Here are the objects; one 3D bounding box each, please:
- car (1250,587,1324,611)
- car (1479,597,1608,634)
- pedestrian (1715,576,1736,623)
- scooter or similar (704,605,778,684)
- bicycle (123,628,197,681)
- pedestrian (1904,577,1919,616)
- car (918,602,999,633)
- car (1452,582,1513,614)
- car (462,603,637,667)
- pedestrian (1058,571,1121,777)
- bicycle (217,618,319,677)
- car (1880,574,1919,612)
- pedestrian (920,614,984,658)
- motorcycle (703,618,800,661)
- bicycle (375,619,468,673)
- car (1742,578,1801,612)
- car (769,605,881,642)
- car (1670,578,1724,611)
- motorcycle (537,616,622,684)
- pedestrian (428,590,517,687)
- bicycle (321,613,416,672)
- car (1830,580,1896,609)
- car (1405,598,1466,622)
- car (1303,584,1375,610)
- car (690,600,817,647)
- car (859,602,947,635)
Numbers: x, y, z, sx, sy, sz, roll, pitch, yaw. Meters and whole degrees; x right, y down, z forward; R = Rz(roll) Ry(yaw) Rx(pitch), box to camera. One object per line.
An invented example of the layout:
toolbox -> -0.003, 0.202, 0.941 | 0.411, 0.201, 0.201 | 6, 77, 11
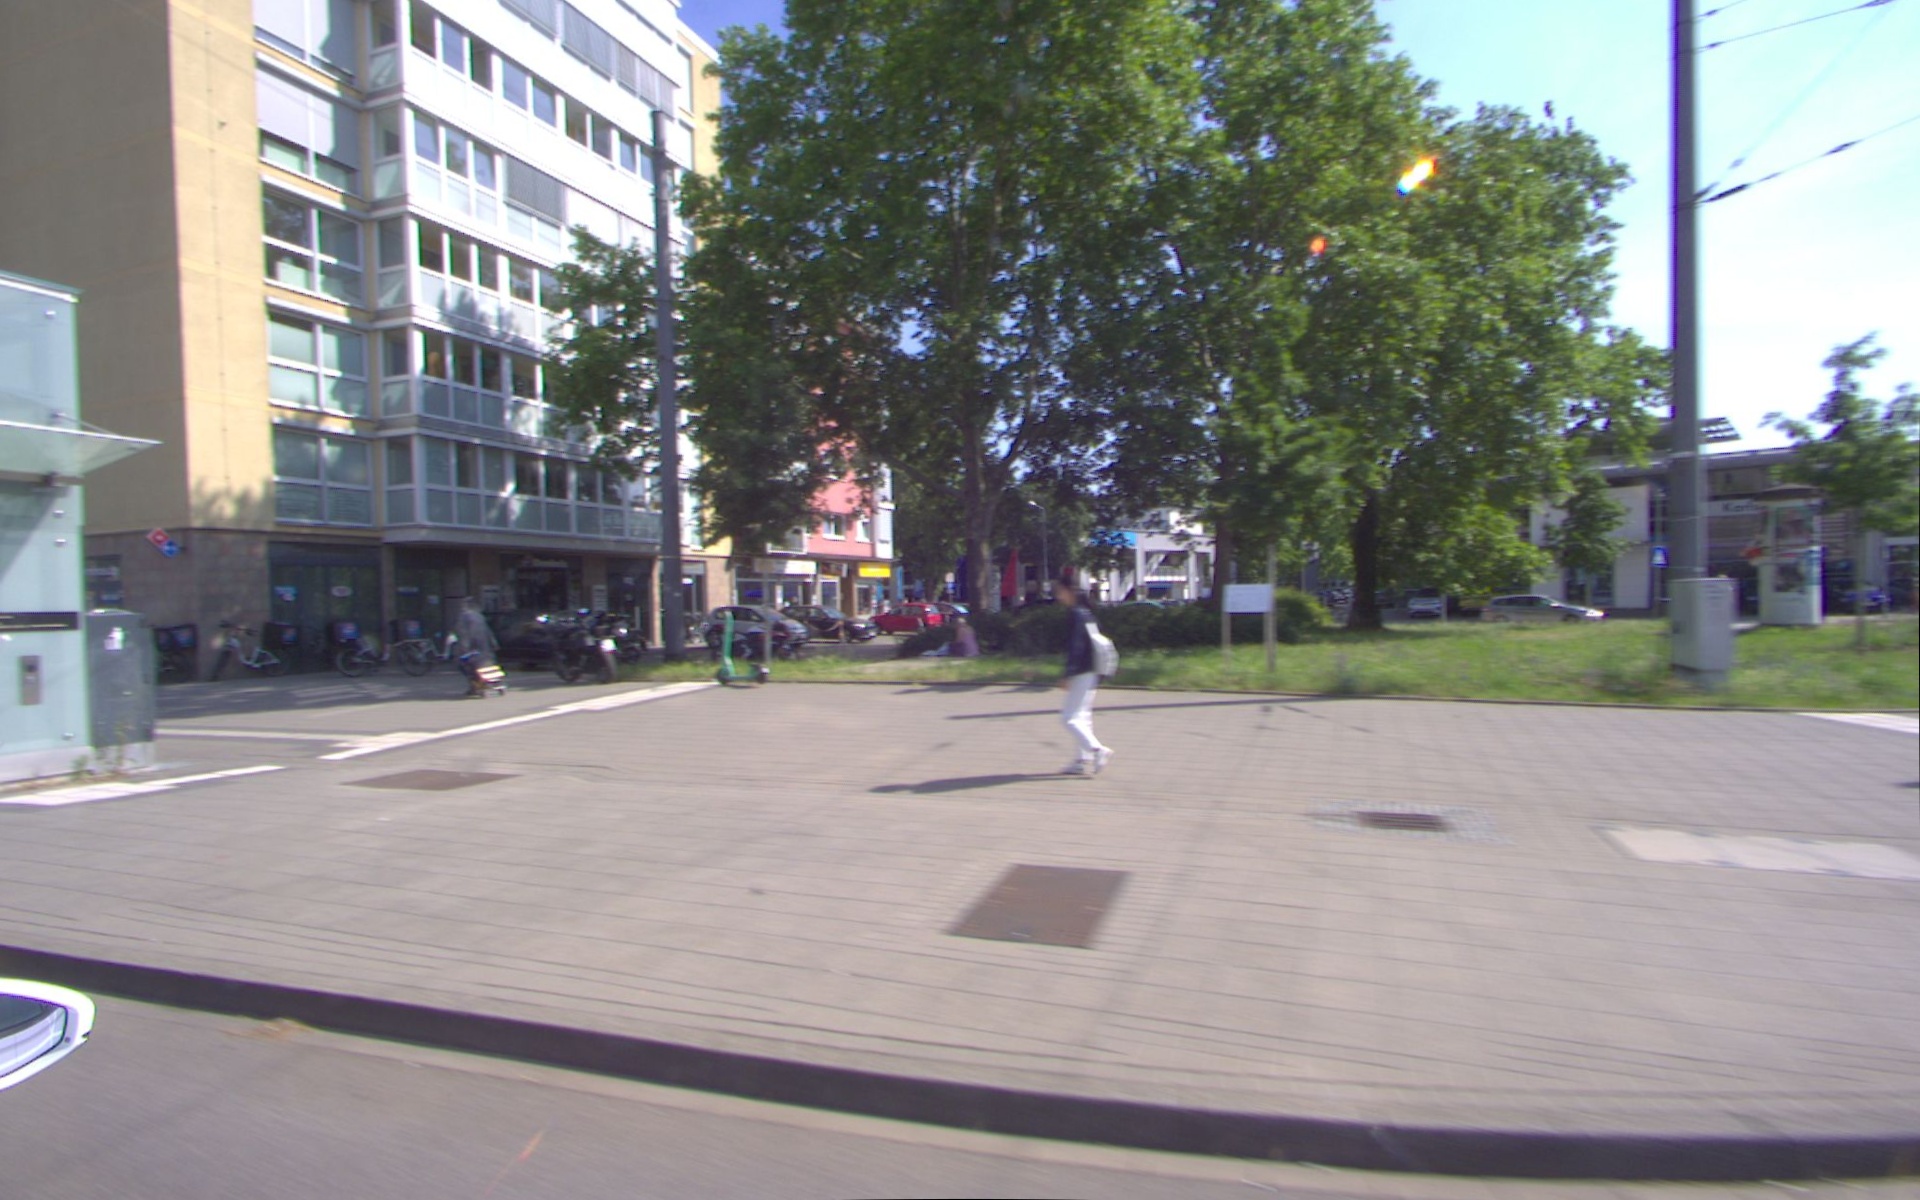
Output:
car -> 20.605, -0.070, 63.126 | 3.949, 1.390, 1.985 | 2, 2, 39
car -> 25.380, 0.624, 43.659 | 4.548, 1.455, 1.955 | 2, 2, 43
pedestrian -> 26.527, -0.019, 34.692 | 0.457, 1.617, 0.391 | 0, 2, -28
scooter or similar -> -3.374, 0.660, 15.370 | 0.511, 1.134, 1.352 | -2, 1, -41
bicycle -> -17.104, 1.157, 21.392 | 1.730, 1.057, 0.581 | -1, 1, 29
pedestrian -> 40.231, -0.153, 41.910 | 0.943, 1.601, 0.531 | 2, 2, 36
car -> -0.091, 0.845, 50.223 | 3.671, 1.418, 1.738 | 1, 1, 23
car -> 28.981, -0.127, 55.474 | 1.978, 1.707, 3.964 | 2, 2, 43
car -> -10.226, 0.887, 24.936 | 4.024, 1.489, 1.656 | -1, -2, 23
pedestrian -> 1.043, 0.585, 8.150 | 0.445, 1.627, 0.400 | 1, 2, 3
bicycle -> -15.574, 1.047, 22.596 | 0.532, 1.202, 1.884 | 0, 1, 24
car -> 43.094, -0.307, 44.352 | 1.792, 1.640, 3.993 | 1, 1, 16
pedestrian -> -0.172, 0.771, 21.560 | 1.155, 0.904, 0.820 | -1, 1, 20
motorcycle -> -4.545, 0.855, 21.805 | 2.002, 0.853, 0.639 | -1, 1, -18
bicycle -> -11.999, 1.009, 22.374 | 0.576, 1.100, 1.747 | -1, 1, 32
car -> 37.960, -0.269, 46.917 | 1.974, 1.506, 3.972 | 2, 2, 37
car -> -5.189, 0.877, 38.528 | 3.932, 1.287, 1.738 | 1, 1, 23
car -> 35.852, -0.276, 48.699 | 1.974, 1.506, 3.972 | 2, 2, 37
motorcycle -> -6.551, 0.825, 17.175 | 0.634, 1.076, 2.019 | -2, 1, -43
pedestrian -> -7.547, 0.612, 15.502 | 1.098, 1.420, 0.656 | -4, -4, 19
bicycle -> -13.284, 0.941, 22.527 | 0.576, 1.235, 1.747 | -1, 0, 32
car -> 40.156, -0.273, 44.596 | 1.812, 1.211, 3.972 | 2, 2, 37
car -> 26.930, 0.522, 56.680 | 1.978, 1.261, 3.964 | 2, 2, 43
car -> 24.228, -0.193, 64.043 | 3.950, 1.573, 1.986 | -1, 1, 38
car -> -7.100, 0.772, 34.435 | 3.932, 1.459, 1.885 | 1, 1, 23
car -> -2.608, 0.842, 46.100 | 3.671, 1.358, 1.738 | 1, 1, 23
